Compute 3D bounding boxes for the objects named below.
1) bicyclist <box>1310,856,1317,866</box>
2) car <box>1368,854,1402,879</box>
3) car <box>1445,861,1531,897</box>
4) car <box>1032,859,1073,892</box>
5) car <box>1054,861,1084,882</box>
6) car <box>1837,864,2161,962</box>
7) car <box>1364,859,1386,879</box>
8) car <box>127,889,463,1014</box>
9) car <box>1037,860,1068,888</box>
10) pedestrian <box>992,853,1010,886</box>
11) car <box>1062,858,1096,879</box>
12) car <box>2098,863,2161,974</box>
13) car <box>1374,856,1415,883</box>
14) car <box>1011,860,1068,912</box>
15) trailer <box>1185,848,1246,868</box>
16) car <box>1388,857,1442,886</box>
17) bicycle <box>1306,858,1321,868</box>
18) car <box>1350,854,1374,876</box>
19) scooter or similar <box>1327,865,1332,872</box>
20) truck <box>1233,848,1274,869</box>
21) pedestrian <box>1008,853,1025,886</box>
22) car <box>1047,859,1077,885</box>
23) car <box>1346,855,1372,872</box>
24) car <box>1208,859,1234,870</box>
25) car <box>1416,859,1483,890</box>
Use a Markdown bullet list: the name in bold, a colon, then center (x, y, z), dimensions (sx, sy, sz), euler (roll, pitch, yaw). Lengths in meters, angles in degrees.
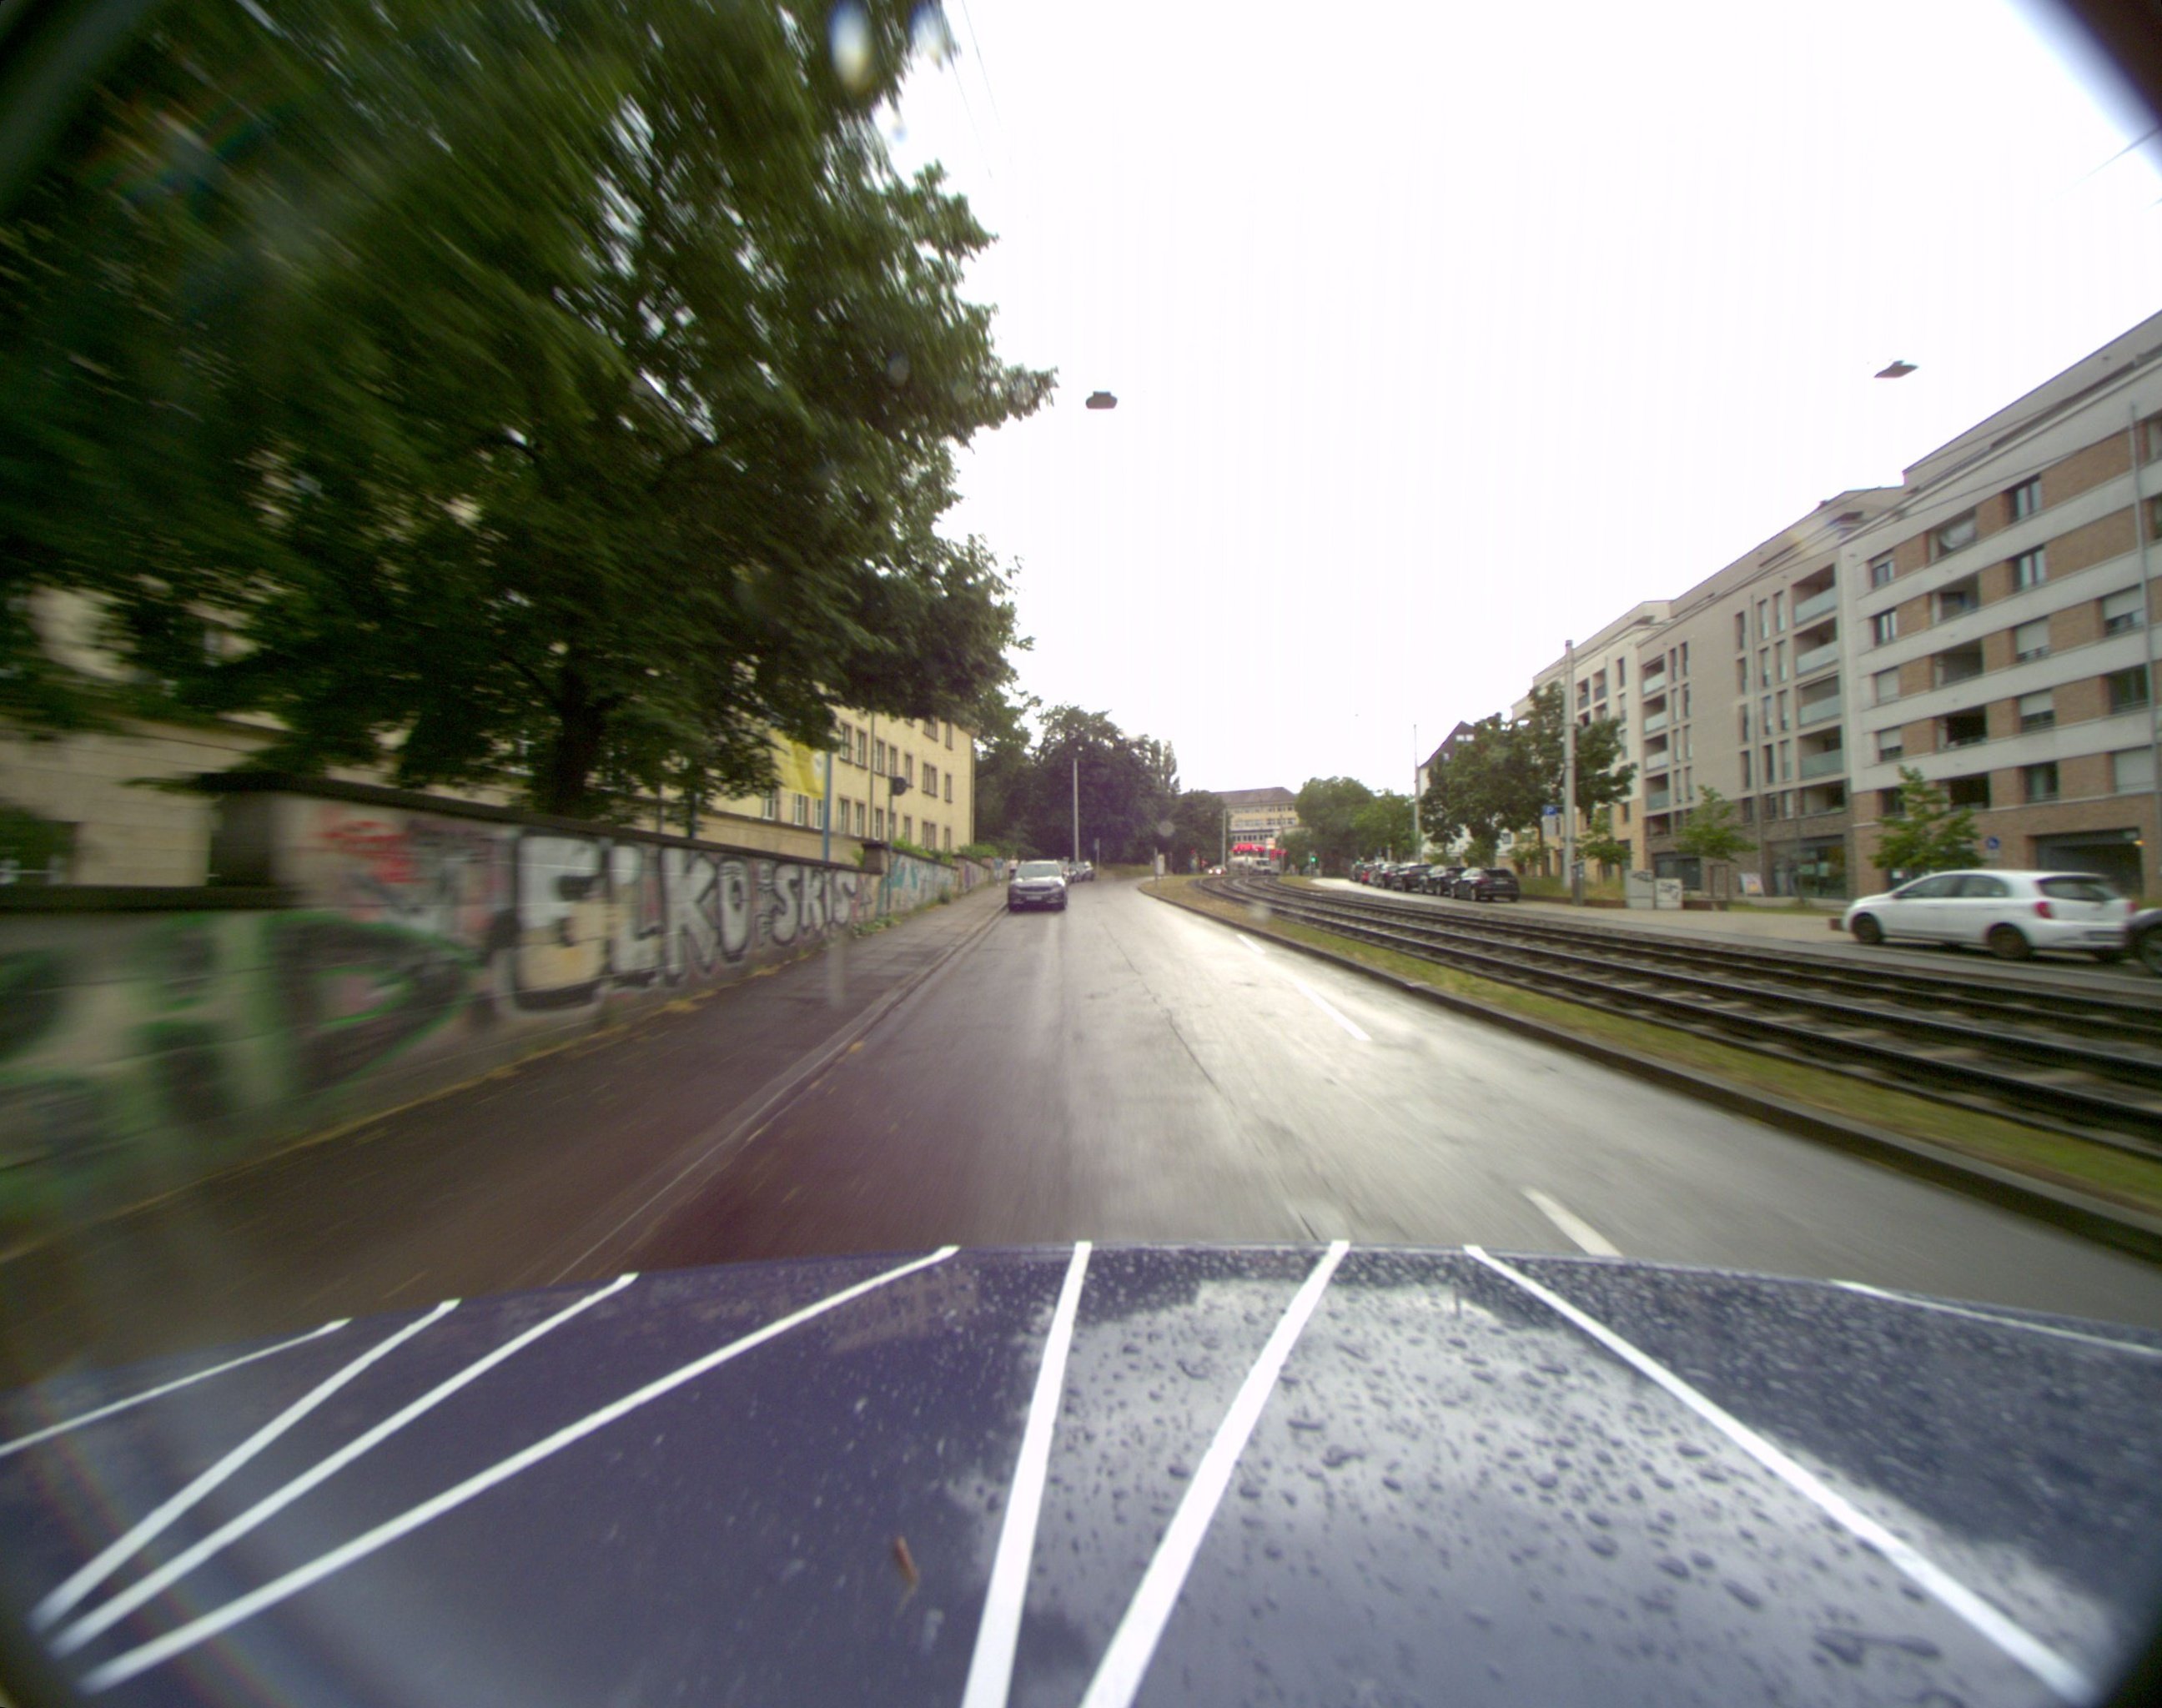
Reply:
- **bicyclist**: center (28.167, 0.841, 91.992), dimensions (0.799, 1.287, 0.595), euler (0, 1, 11)
- **car**: center (22.051, 0.913, 55.268), dimensions (1.665, 1.737, 4.262), euler (0, 0, 13)
- **car**: center (17.730, 1.049, 33.326), dimensions (1.969, 1.422, 4.202), euler (-1, 0, 8)
- **car**: center (-1.369, 1.024, 37.554), dimensions (1.669, 1.468, 4.458), euler (1, 0, 2)
- **car**: center (-0.803, 1.206, 53.167), dimensions (1.539, 1.408, 3.646), euler (1, 0, 7)
- **car**: center (16.375, 0.952, 13.808), dimensions (1.769, 1.470, 3.736), euler (0, 0, 6)
- **car**: center (23.135, 1.145, 59.846), dimensions (1.471, 1.522, 2.935), euler (0, 0, 19)
- **car**: center (-12.826, 1.516, 12.514), dimensions (4.131, 1.782, 1.796), euler (-1, 0, 10)
- **car**: center (-1.594, 1.090, 42.661), dimensions (1.670, 1.468, 4.065), euler (-1, 0, -2)
- **pedestrian**: center (-4.305, 0.838, 40.989), dimensions (0.719, 1.744, 0.739), euler (1, 0, 11)
- **car**: center (-0.118, 1.074, 57.132), dimensions (1.599, 1.457, 2.725), euler (1, 0, 22)
- **car**: center (16.045, 0.916, 9.111), dimensions (1.770, 1.552, 4.405), euler (0, 0, 0)
- **car**: center (20.371, 0.987, 49.528), dimensions (1.734, 1.634, 4.536), euler (-1, 0, 13)
- **car**: center (-1.279, 0.991, 25.056), dimensions (1.670, 1.515, 4.108), euler (-1, 0, 0)
- **trailer**: center (22.501, 0.677, 127.393), dimensions (9.809, 3.375, 2.819), euler (0, 0, 31)
- **car**: center (19.258, 0.996, 44.018), dimensions (1.806, 1.574, 4.702), euler (-1, 0, 10)
- **bicycle**: center (28.316, 1.074, 92.498), dimensions (1.709, 1.133, 0.626), euler (0, 0, 12)
- **car**: center (25.615, 0.986, 69.305), dimensions (1.583, 1.848, 4.338), euler (-2, -1, 15)
- **scooter or similar**: center (50.754, 2.967, 154.973), dimensions (1.365, 1.186, 0.399), euler (-3, 2, -44)
- **truck**: center (28.222, 0.737, 124.298), dimensions (6.109, 3.379, 2.843), euler (0, -1, 25)
- **pedestrian**: center (-3.455, 0.828, 40.788), dimensions (0.719, 1.744, 0.739), euler (1, 0, 11)
- **car**: center (-1.150, 1.095, 48.000), dimensions (1.669, 1.564, 3.856), euler (1, 0, 1)
- **car**: center (27.051, 0.910, 73.961), dimensions (1.996, 1.595, 4.220), euler (-3, -1, 16)
- **car**: center (18.633, 1.407, 100.928), dimensions (1.885, 1.482, 3.858), euler (0, 0, 36)
- **car**: center (18.949, 1.021, 39.258), dimensions (1.740, 1.480, 4.259), euler (-1, 0, 6)
